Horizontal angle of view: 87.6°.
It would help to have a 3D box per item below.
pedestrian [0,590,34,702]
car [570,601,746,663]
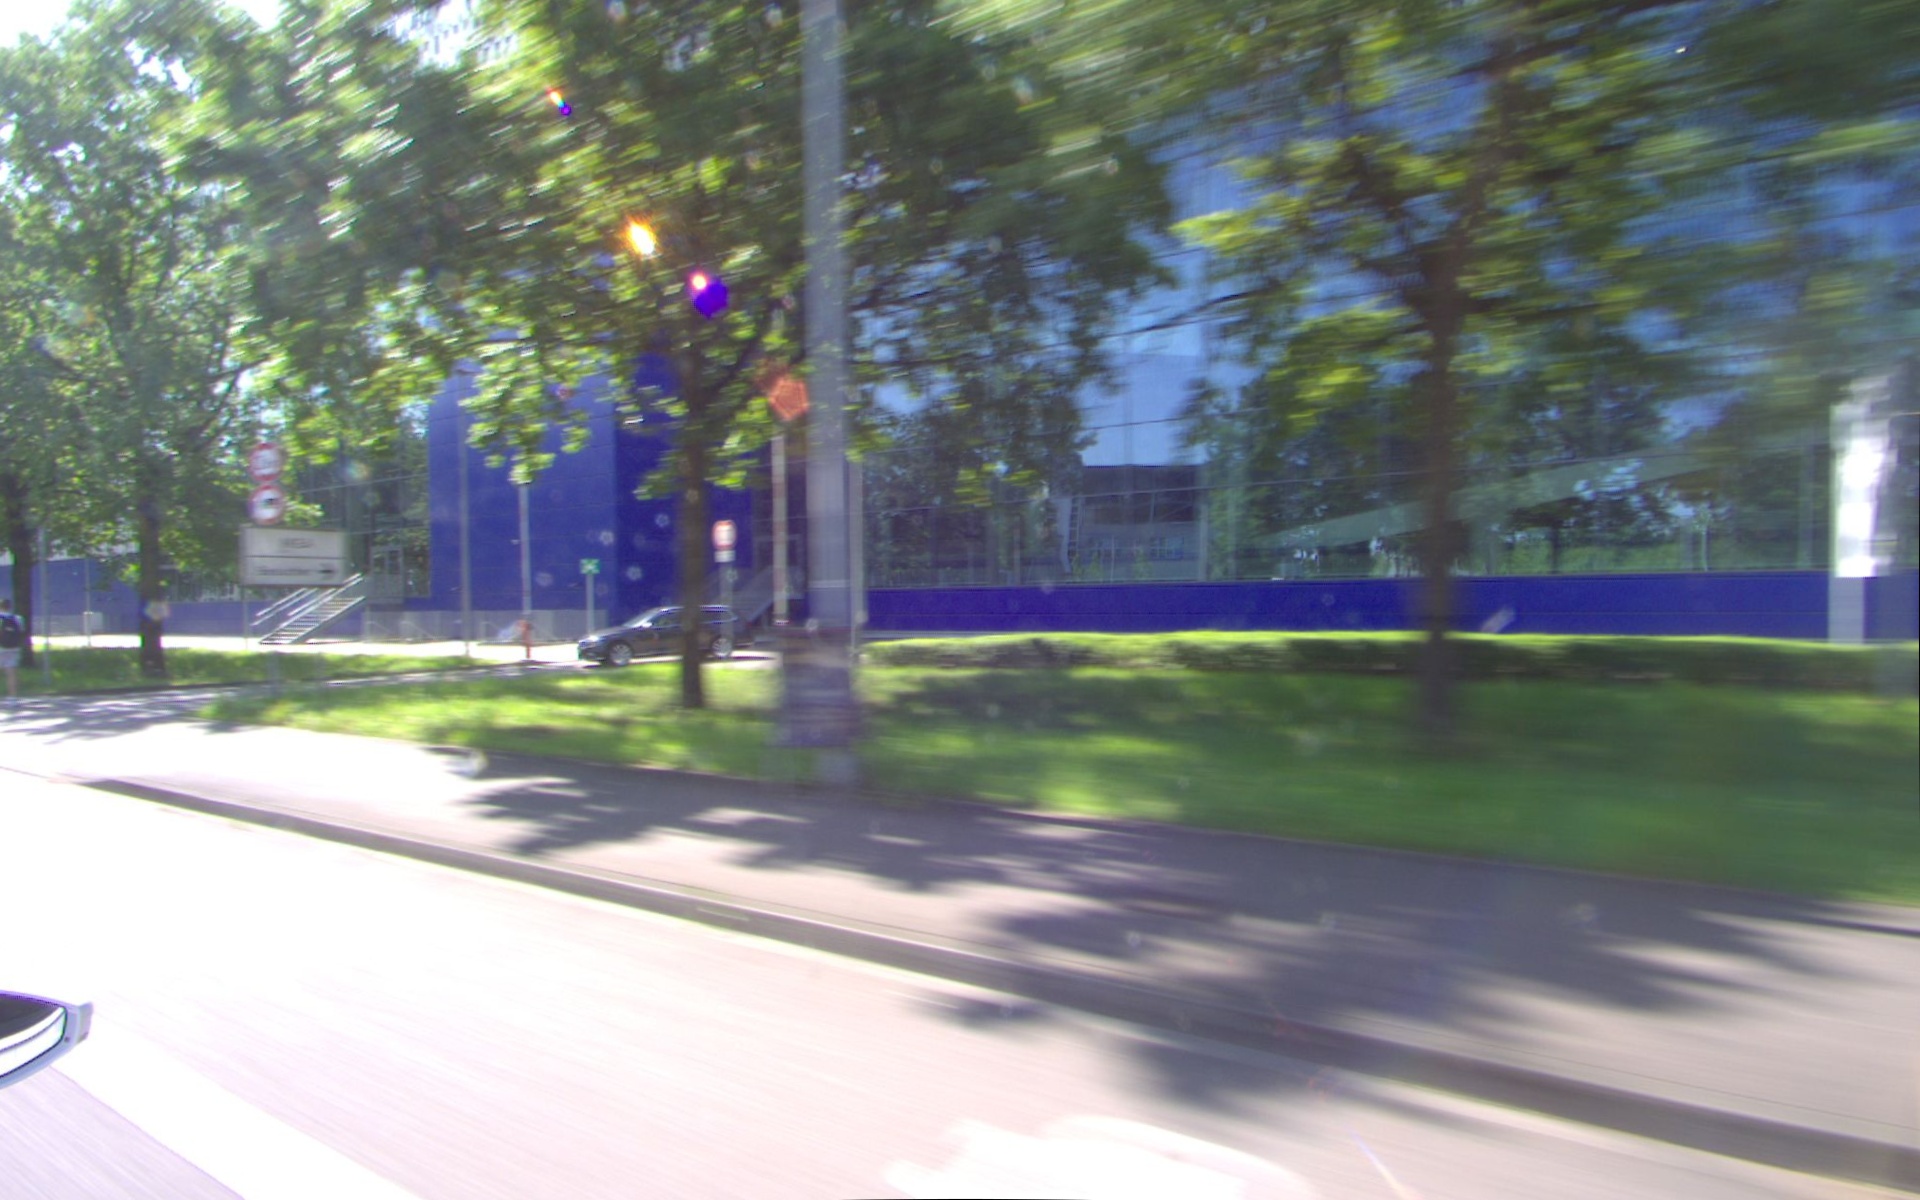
[{"bbox_3d":[-16.331,0.777,17.141,0.717,1.866,0.534,0,1,33],"label":"pedestrian"},{"bbox_3d":[-8.171,0.821,27.155,4.308,1.540,1.903,-1,0,-28],"label":"car"}]
